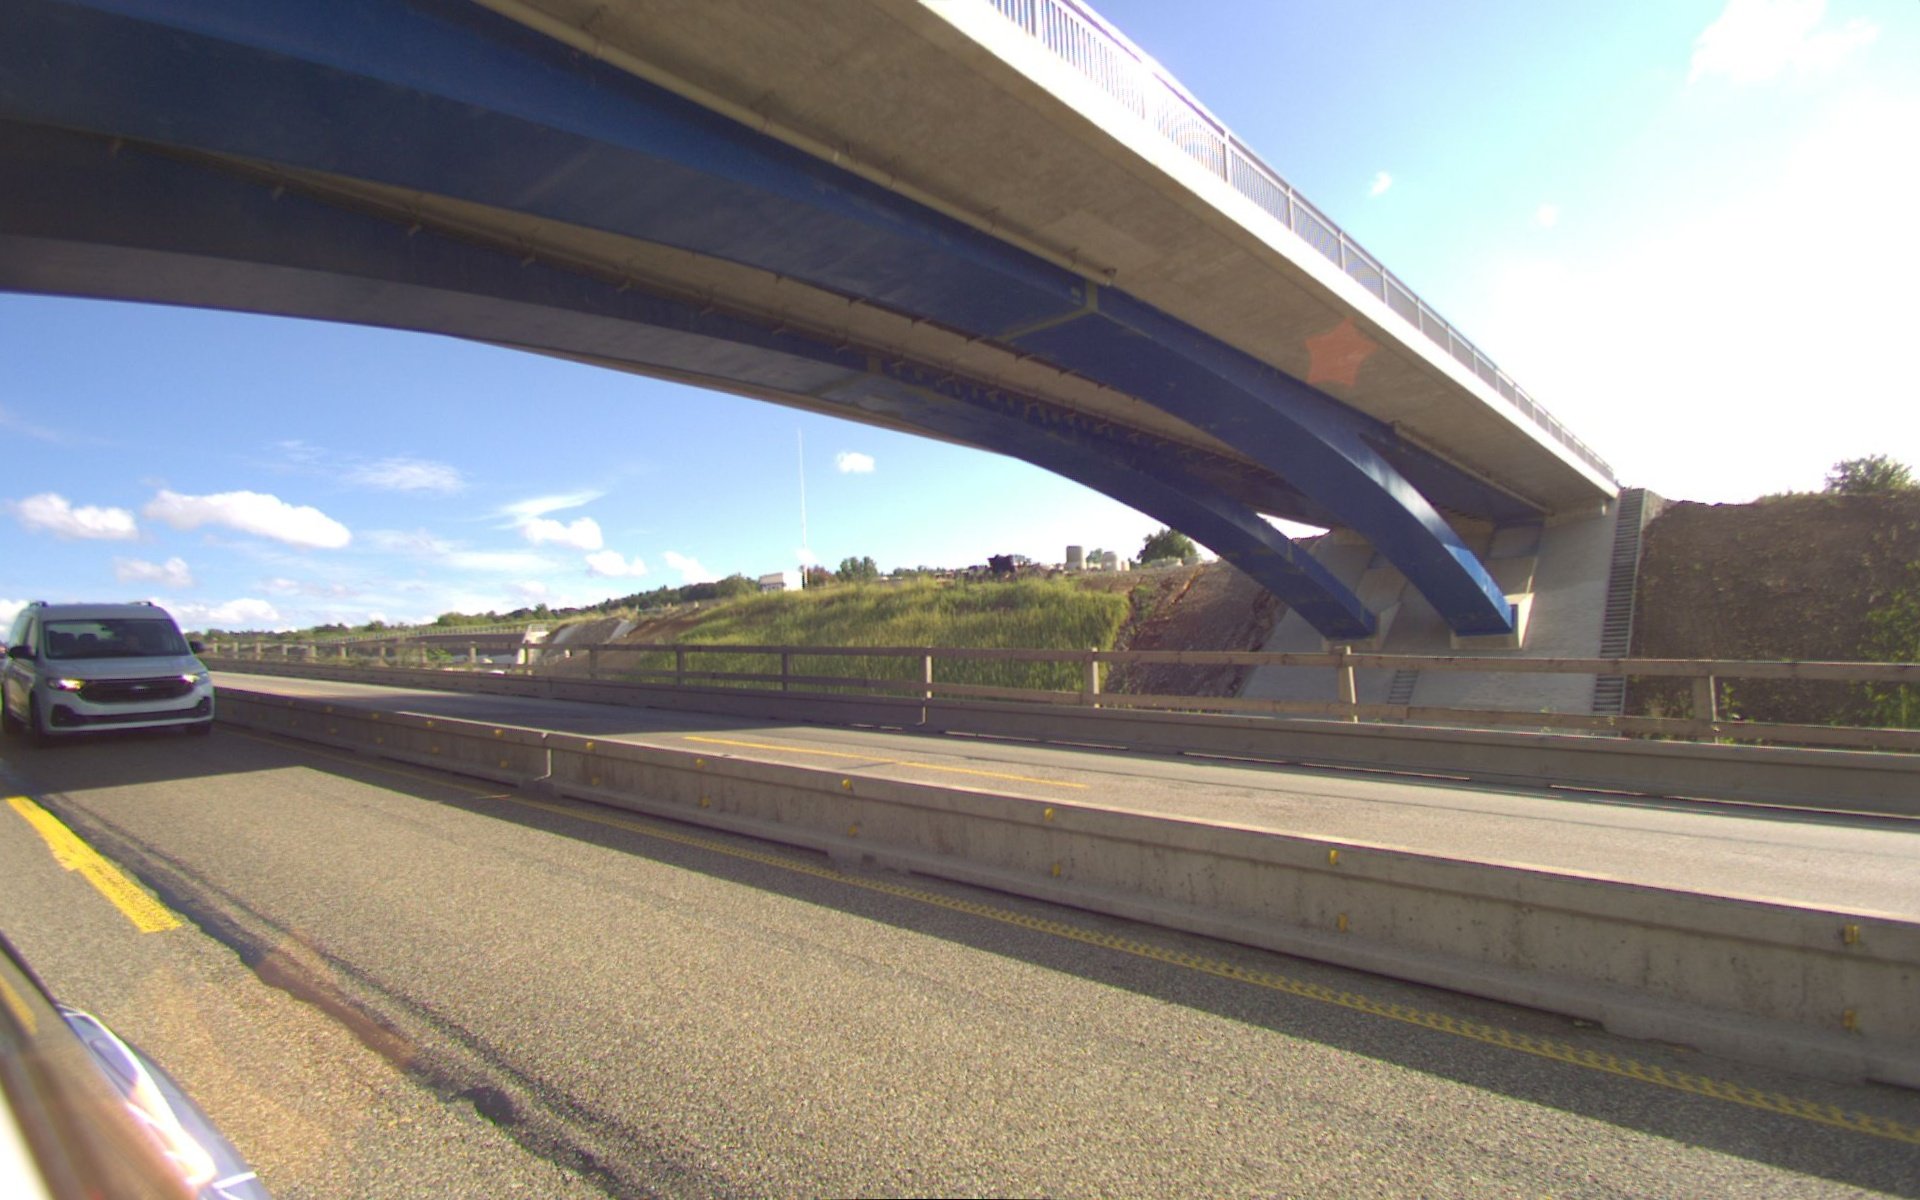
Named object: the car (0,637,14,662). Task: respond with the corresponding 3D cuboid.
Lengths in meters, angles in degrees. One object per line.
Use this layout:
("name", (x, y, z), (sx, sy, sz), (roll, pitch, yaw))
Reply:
("car", (-47.281, 2.376, 49.014), (4.215, 1.164, 1.651), (-2, -5, 41))

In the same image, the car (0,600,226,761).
("car", (-11.762, 0.993, 13.778), (4.452, 1.837, 1.805), (-2, -1, 40))
